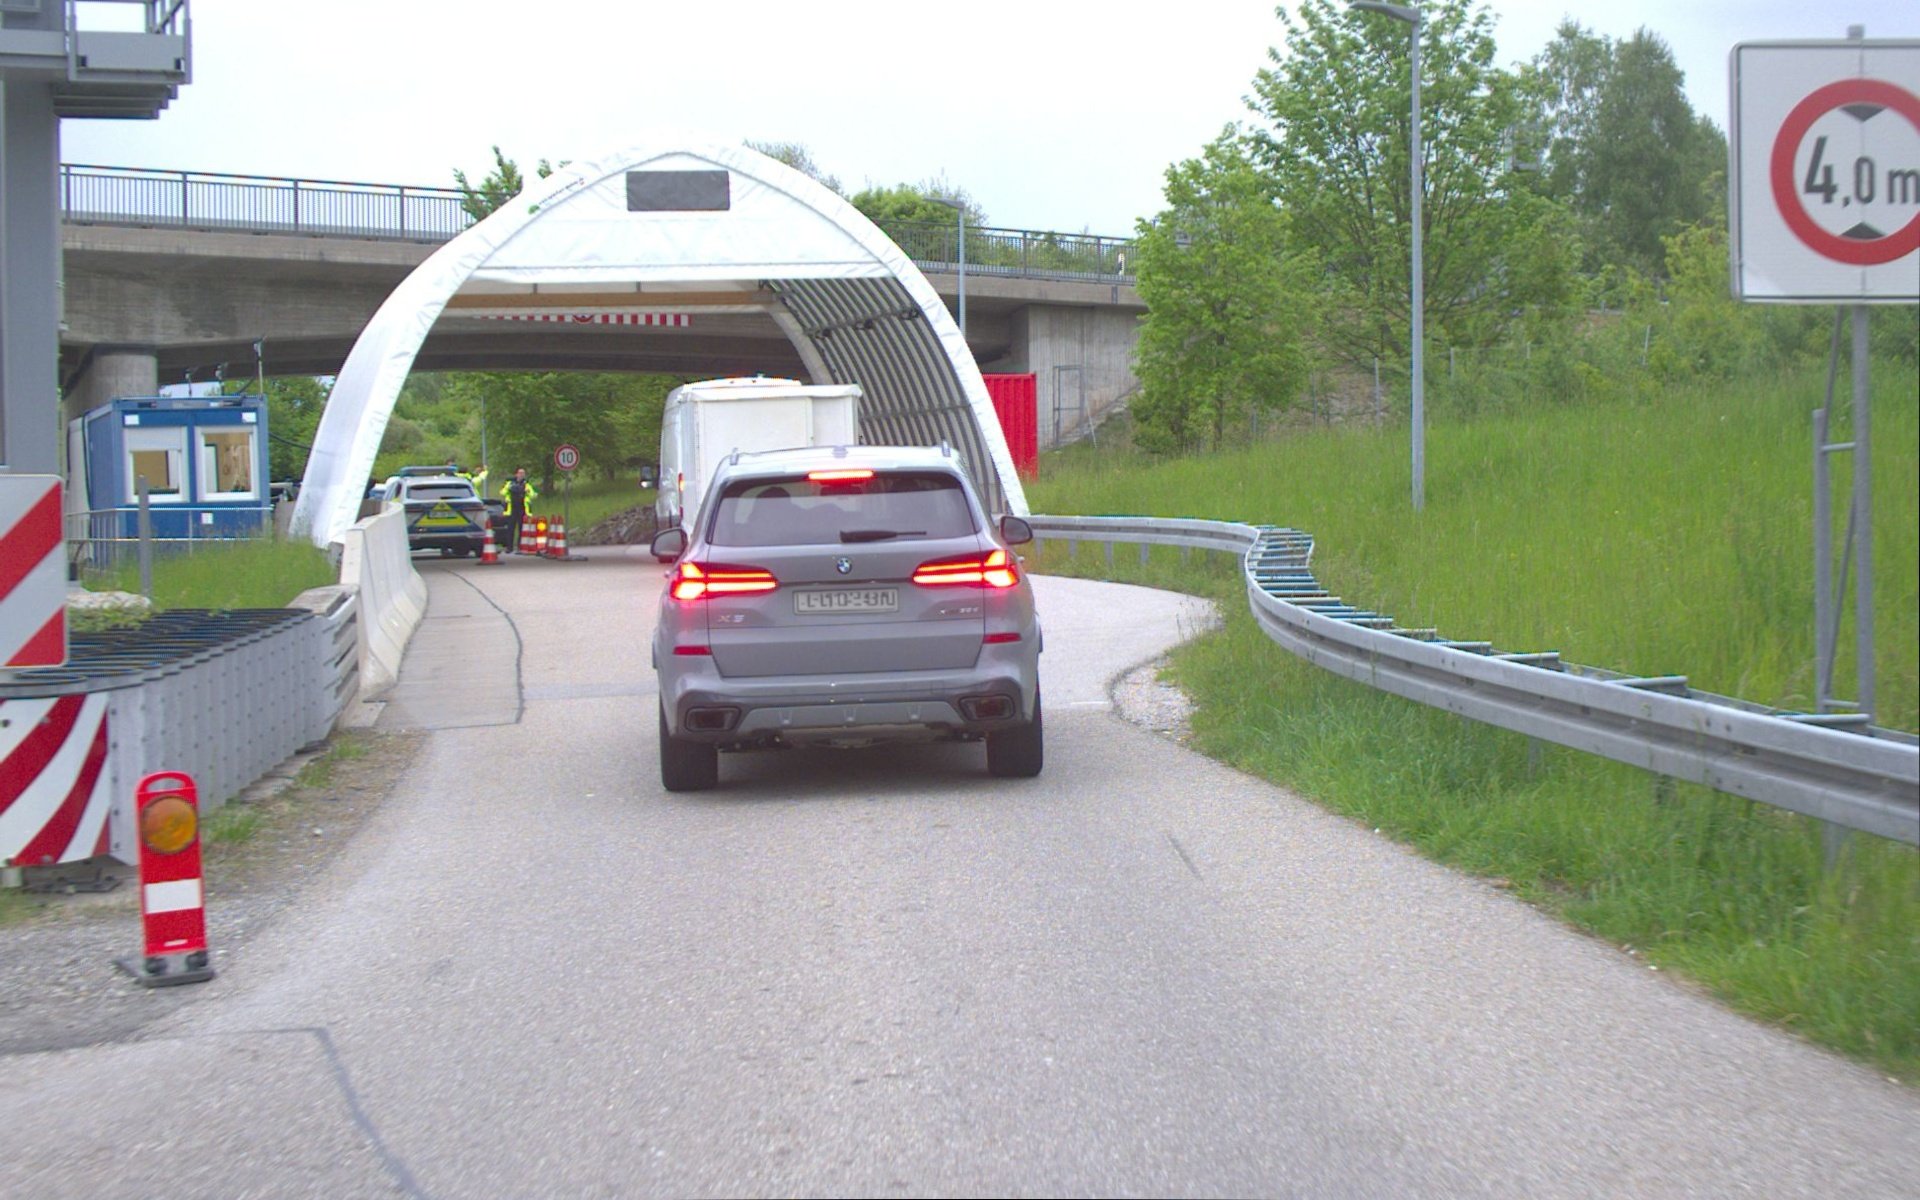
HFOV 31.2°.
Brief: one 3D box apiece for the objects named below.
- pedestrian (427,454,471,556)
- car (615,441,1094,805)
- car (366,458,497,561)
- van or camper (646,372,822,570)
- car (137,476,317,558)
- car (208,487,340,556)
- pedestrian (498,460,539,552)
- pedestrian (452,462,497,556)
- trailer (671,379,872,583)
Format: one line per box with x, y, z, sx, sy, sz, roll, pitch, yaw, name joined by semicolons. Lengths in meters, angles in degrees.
-9.937;-1.851;66.864;0.720;1.938;0.690;-3;2;-13;pedestrian
-0.443;0.063;18.707;1.994;1.713;3.999;-2;1;7;car
-9.777;-1.669;63.361;1.993;1.765;3.767;-3;2;-14;car
-3.482;-1.879;51.889;2.156;2.754;5.873;-2;1;-8;van or camper
-18.230;-2.085;85.600;3.987;1.847;1.709;-2;2;2;car
-15.631;-1.782;78.279;1.515;1.437;3.314;-4;2;-39;car
-8.607;-1.834;66.971;0.648;1.769;0.606;-3;2;-15;pedestrian
-9.318;-1.748;65.956;0.720;1.769;0.690;-3;2;-13;pedestrian
-2.595;-1.512;45.578;2.278;2.422;6.819;-2;1;-6;trailer
